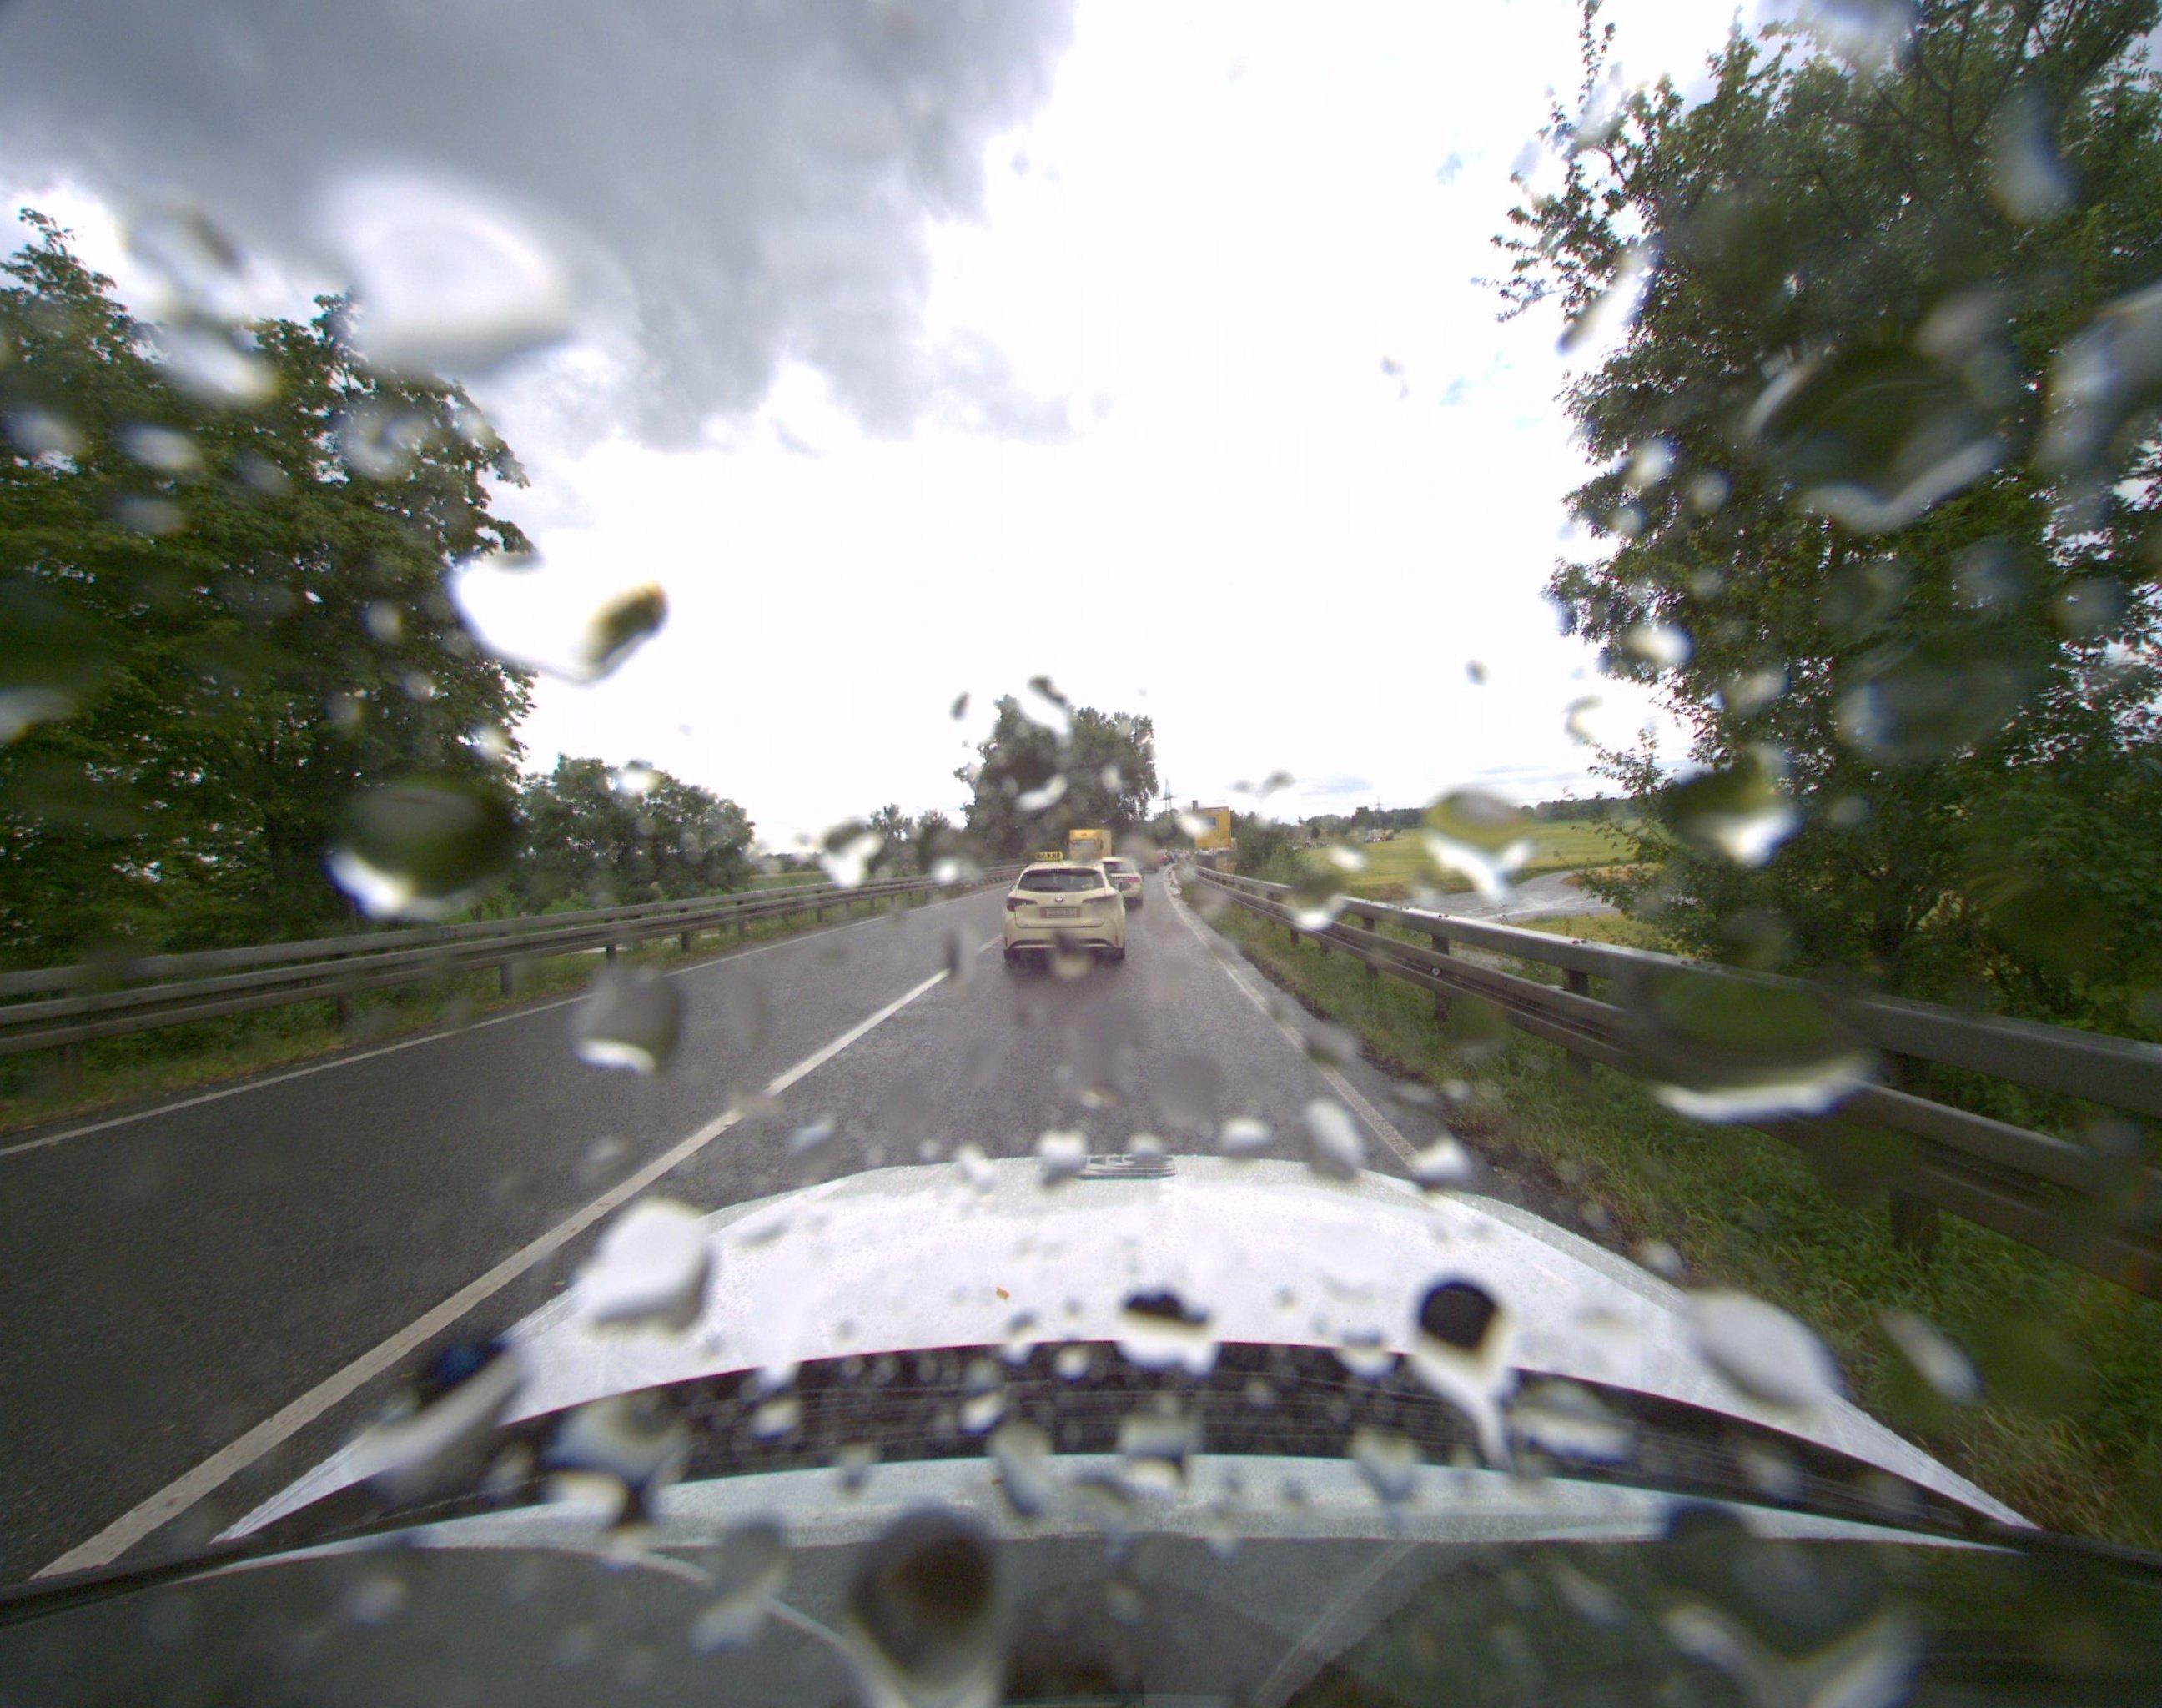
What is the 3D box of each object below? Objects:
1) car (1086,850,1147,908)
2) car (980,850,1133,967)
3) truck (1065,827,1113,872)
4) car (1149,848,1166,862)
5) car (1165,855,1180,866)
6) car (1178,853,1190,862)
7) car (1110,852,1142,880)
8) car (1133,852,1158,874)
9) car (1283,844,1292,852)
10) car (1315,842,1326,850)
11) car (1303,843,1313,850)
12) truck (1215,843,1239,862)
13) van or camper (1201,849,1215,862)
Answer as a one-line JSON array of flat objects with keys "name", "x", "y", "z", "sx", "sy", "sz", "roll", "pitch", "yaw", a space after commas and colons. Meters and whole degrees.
[{"name": "car", "x": 1.126, "y": 0.692, "z": 24.066, "sx": 1.570, "sy": 1.572, "sz": 3.687, "roll": -1, "pitch": 0, "yaw": 6}, {"name": "car", "x": -0.201, "y": 0.740, "z": 13.009, "sx": 1.896, "sy": 1.537, "sz": 4.168, "roll": -1, "pitch": 0, "yaw": 6}, {"name": "truck", "x": 0.775, "y": -0.297, "z": 66.252, "sx": 2.755, "sy": 3.429, "sz": 9.207, "roll": 0, "pitch": 0, "yaw": 8}, {"name": "car", "x": 8.216, "y": 0.143, "z": 87.445, "sx": 1.651, "sy": 1.409, "sz": 3.912, "roll": -1, "pitch": -1, "yaw": 7}, {"name": "car", "x": 11.337, "y": 0.785, "z": 101.135, "sx": 1.472, "sy": 1.309, "sz": 3.488, "roll": -1, "pitch": 0, "yaw": 12}, {"name": "car", "x": 15.018, "y": 0.470, "z": 118.455, "sx": 1.472, "sy": 1.309, "sz": 3.488, "roll": -1, "pitch": 0, "yaw": 12}, {"name": "car", "x": 2.376, "y": 0.616, "z": 42.803, "sx": 1.498, "sy": 1.437, "sz": 3.361, "roll": -1, "pitch": 0, "yaw": 6}, {"name": "car", "x": 4.726, "y": 0.637, "z": 59.295, "sx": 1.656, "sy": 1.464, "sz": 3.484, "roll": -1, "pitch": 0, "yaw": 7}, {"name": "car", "x": 53.866, "y": -1.552, "z": 212.361, "sx": 1.903, "sy": 1.838, "sz": 4.021, "roll": -1, "pitch": -1, "yaw": 22}, {"name": "car", "x": 69.017, "y": -2.299, "z": 234.622, "sx": 1.974, "sy": 2.014, "sz": 4.025, "roll": -1, "pitch": -1, "yaw": 33}, {"name": "car", "x": 63.507, "y": -2.003, "z": 227.936, "sx": 1.801, "sy": 1.838, "sz": 4.013, "roll": -1, "pitch": -1, "yaw": 30}, {"name": "truck", "x": 29.480, "y": -0.266, "z": 164.206, "sx": 3.113, "sy": 3.562, "sz": 7.561, "roll": -1, "pitch": -1, "yaw": 21}, {"name": "van or camper", "x": 22.143, "y": 0.301, "z": 142.241, "sx": 1.979, "sy": 2.254, "sz": 4.015, "roll": -1, "pitch": -1, "yaw": 14}]
